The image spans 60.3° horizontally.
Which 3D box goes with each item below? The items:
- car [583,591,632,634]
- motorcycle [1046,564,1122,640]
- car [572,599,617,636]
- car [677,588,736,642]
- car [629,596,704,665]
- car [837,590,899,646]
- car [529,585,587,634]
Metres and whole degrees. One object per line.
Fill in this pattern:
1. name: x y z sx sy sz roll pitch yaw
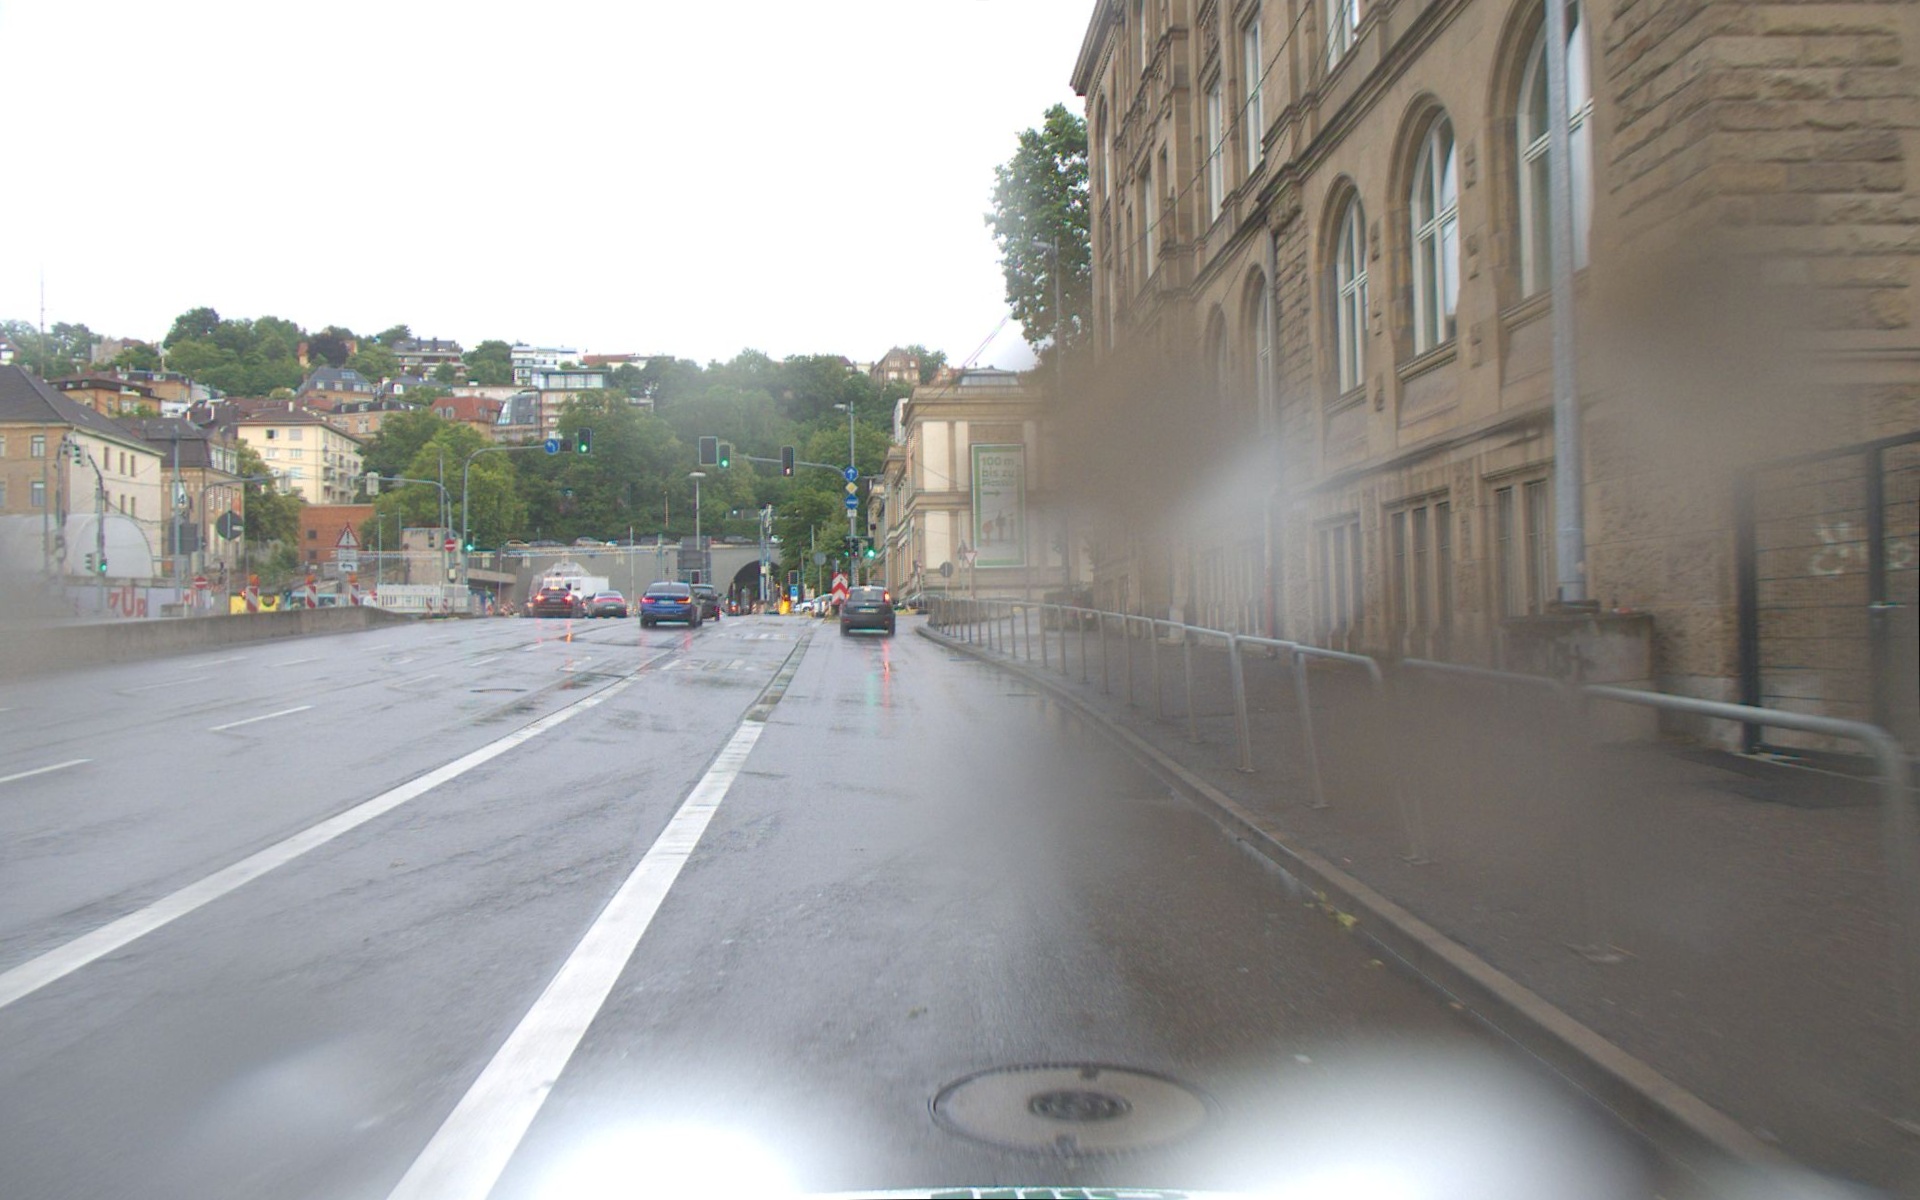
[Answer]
1. car: -18.190 0.662 85.444 2.012 2.049 3.994 -2 -2 -6
2. motorcycle: 3.502 0.057 47.228 1.759 2.049 3.812 -1 0 -1
3. car: -22.006 1.086 99.743 1.954 2.049 3.997 -2 -2 -3
4. car: -10.511 0.658 68.833 1.739 2.049 3.999 -2 -2 1
5. car: -9.632 1.044 54.552 2.064 2.086 3.995 -2 -2 -5
6. car: -2.791 0.578 50.542 1.776 1.553 3.997 -2 -2 -3
7. car: -18.592 0.461 76.672 1.977 2.049 3.995 -2 -2 -5
